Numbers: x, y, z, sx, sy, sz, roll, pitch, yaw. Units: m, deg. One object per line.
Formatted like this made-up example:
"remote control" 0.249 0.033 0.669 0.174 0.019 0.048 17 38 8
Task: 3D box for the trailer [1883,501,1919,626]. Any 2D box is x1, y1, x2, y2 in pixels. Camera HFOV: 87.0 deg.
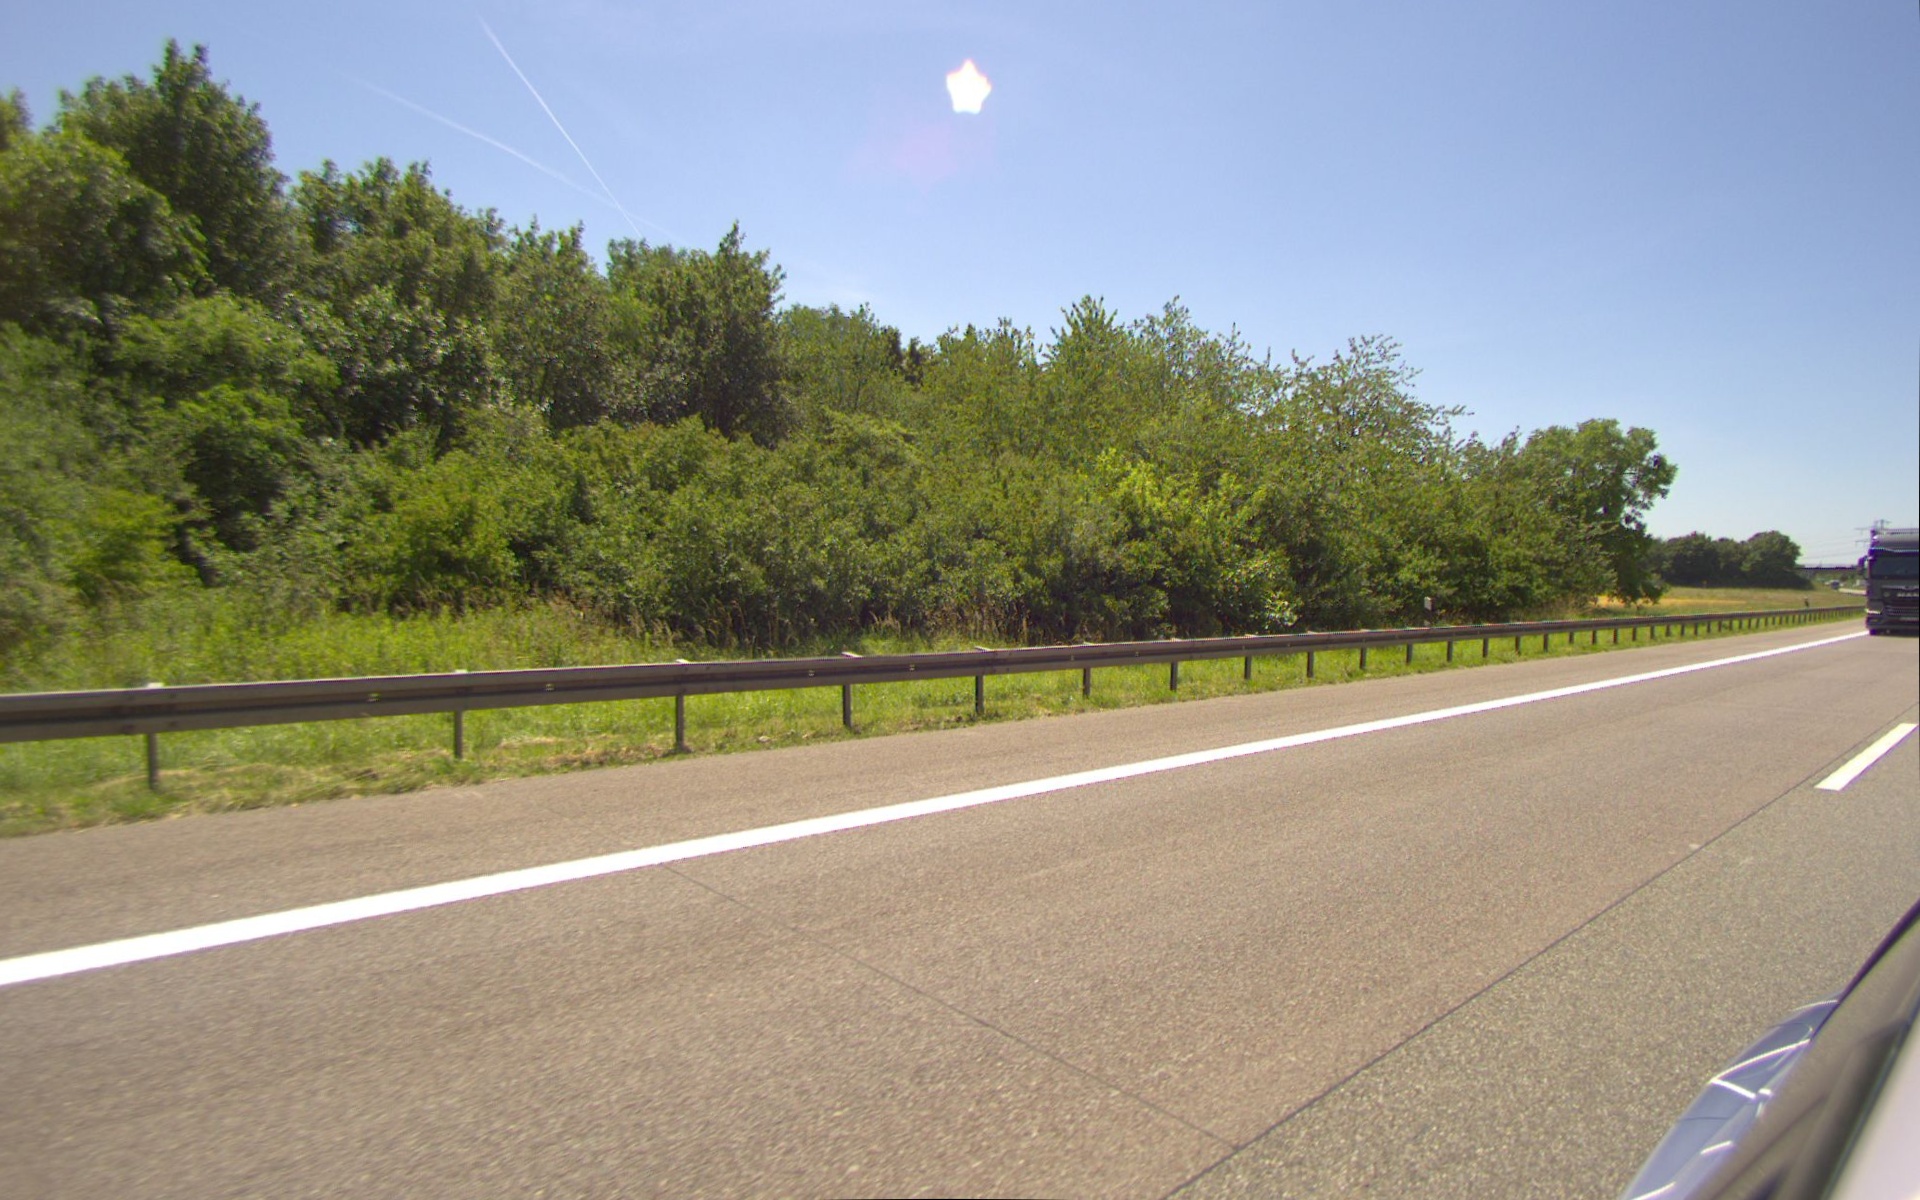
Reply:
"trailer" 41.500 -1.433 42.237 13.743 4.715 2.906 -1 1 -41

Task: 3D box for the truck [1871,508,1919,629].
"truck" 36.132 -1.150 37.516 4.888 4.309 2.913 -1 1 -41
